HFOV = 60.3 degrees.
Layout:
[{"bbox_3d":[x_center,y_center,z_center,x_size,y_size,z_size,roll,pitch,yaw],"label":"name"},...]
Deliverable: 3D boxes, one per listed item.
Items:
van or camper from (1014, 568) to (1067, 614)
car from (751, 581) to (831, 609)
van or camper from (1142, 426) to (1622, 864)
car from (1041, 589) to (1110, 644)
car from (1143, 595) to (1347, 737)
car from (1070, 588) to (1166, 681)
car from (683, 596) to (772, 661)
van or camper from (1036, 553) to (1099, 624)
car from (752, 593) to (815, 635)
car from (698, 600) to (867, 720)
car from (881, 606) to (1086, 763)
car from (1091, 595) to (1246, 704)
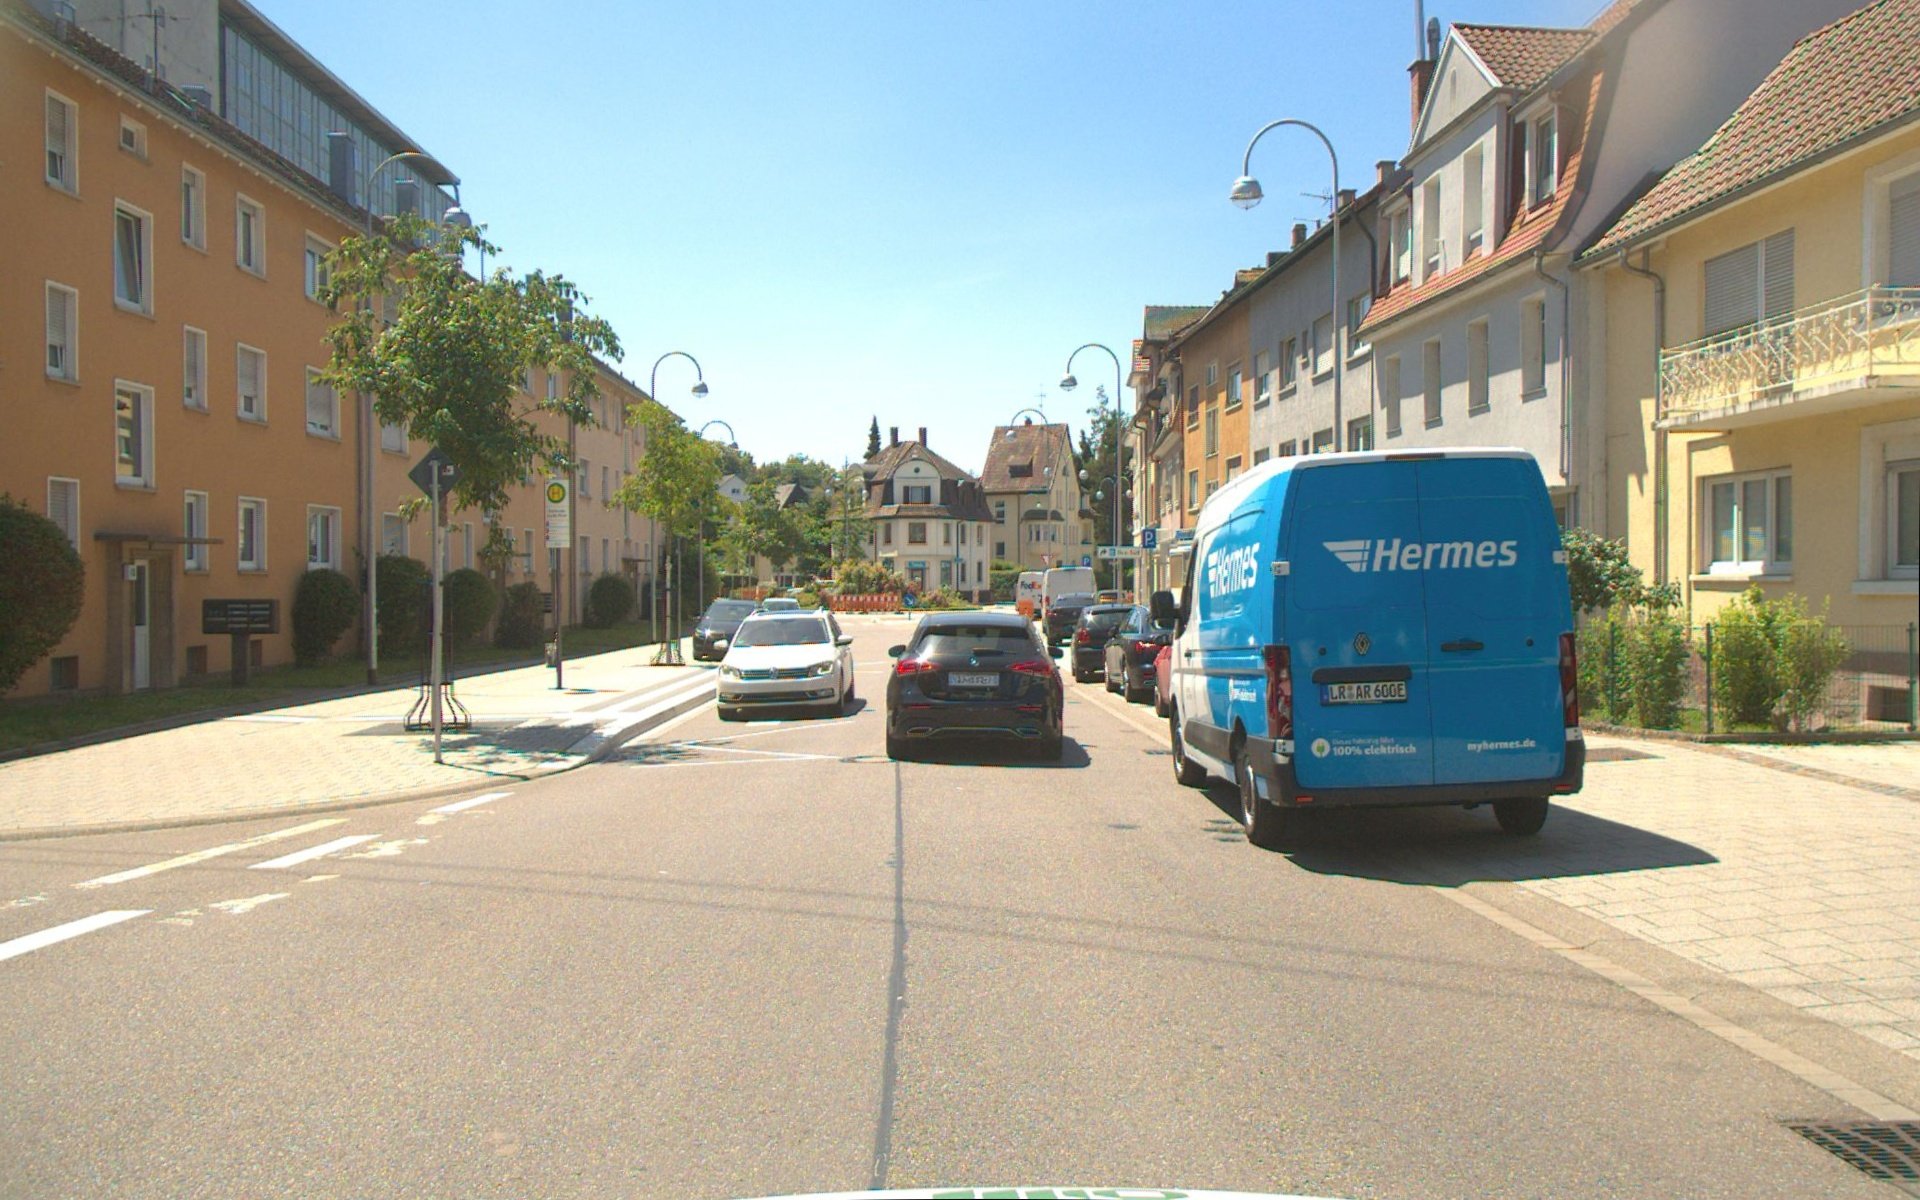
[{"bbox_3d":[4.737,-0.547,96.970,2.159,2.656,4.002,1,1,17],"label":"van or camper"},{"bbox_3d":[-11.909,-0.356,116.426,5.317,1.847,1.991,1,1,-18],"label":"car"},{"bbox_3d":[2.832,0.275,12.858,2.065,2.510,6.176,-2,0,0],"label":"van or camper"},{"bbox_3d":[3.776,0.501,53.479,1.855,1.635,4.368,-2,0,8],"label":"car"},{"bbox_3d":[3.498,0.750,21.006,1.767,1.556,4.149,-1,0,-1],"label":"car"},{"bbox_3d":[3.128,0.637,33.387,1.692,1.661,4.002,-3,1,3],"label":"car"},{"bbox_3d":[-6.011,0.695,43.226,1.820,1.533,4.561,0,1,-2],"label":"car"},{"bbox_3d":[4.168,-0.457,65.058,2.120,2.634,5.766,-1,0,1],"label":"van or camper"},{"bbox_3d":[-6.332,0.524,59.632,1.953,1.445,4.086,0,-1,-2],"label":"car"},{"bbox_3d":[-2.519,0.810,24.457,1.952,1.533,4.289,0,1,1],"label":"car"},{"bbox_3d":[0.220,0.816,17.607,1.913,1.452,3.999,1,-1,0],"label":"car"},{"bbox_3d":[3.304,0.733,27.036,1.767,1.500,4.719,-3,1,-1],"label":"car"}]
